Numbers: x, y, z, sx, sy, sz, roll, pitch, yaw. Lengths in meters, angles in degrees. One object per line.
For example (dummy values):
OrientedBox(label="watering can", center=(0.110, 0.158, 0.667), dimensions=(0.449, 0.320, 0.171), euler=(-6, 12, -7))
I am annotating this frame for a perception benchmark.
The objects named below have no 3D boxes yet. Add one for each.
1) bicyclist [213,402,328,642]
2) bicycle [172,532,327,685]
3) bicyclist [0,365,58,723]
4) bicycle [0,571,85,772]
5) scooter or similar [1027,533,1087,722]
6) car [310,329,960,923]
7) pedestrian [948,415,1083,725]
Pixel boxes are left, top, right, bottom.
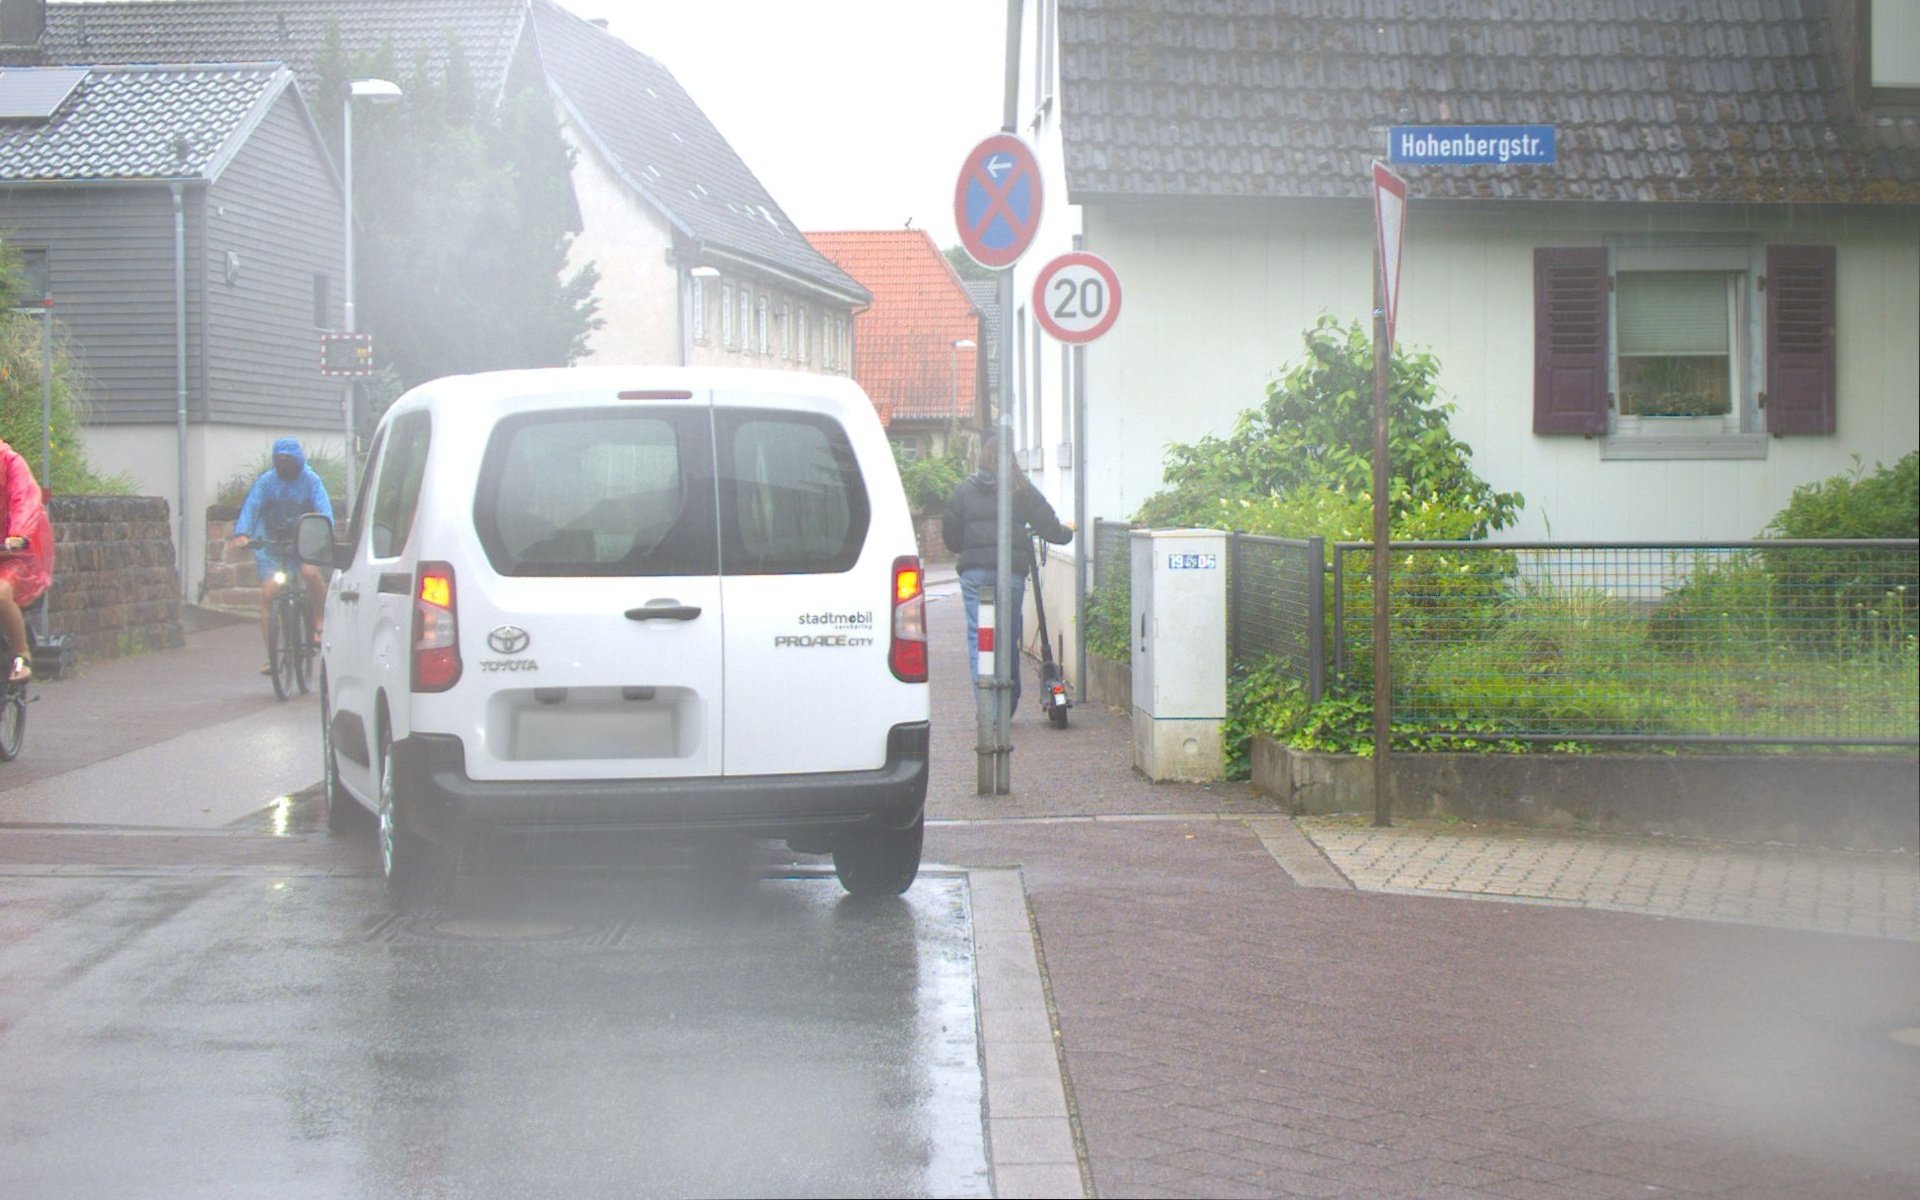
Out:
OrientedBox(label="bicyclist", center=(-5.019, -0.567, 25.043), dimensions=(0.687, 1.707, 0.703), euler=(1, 1, -1))
OrientedBox(label="bicycle", center=(-5.136, 0.034, 24.981), dimensions=(0.680, 1.047, 2.339), euler=(1, 1, -1))
OrientedBox(label="bicyclist", center=(-4.952, -0.301, 17.289), dimensions=(0.656, 1.763, 0.703), euler=(1, 3, -1))
OrientedBox(label="bicycle", center=(-4.967, 0.342, 17.320), dimensions=(0.661, 0.867, 1.935), euler=(1, 4, -1))
OrientedBox(label="scooter or similar", center=(0.552, 0.145, 19.710), dimensions=(0.245, 1.024, 1.100), euler=(2, 2, -2))
OrientedBox(label="car", center=(-1.369, 0.058, 12.689), dimensions=(1.794, 1.812, 4.103), euler=(1, 1, -13))
OrientedBox(label="pedestrian", center=(0.309, -0.182, 19.739), dimensions=(0.694, 1.726, 0.821), euler=(2, 2, -1))
